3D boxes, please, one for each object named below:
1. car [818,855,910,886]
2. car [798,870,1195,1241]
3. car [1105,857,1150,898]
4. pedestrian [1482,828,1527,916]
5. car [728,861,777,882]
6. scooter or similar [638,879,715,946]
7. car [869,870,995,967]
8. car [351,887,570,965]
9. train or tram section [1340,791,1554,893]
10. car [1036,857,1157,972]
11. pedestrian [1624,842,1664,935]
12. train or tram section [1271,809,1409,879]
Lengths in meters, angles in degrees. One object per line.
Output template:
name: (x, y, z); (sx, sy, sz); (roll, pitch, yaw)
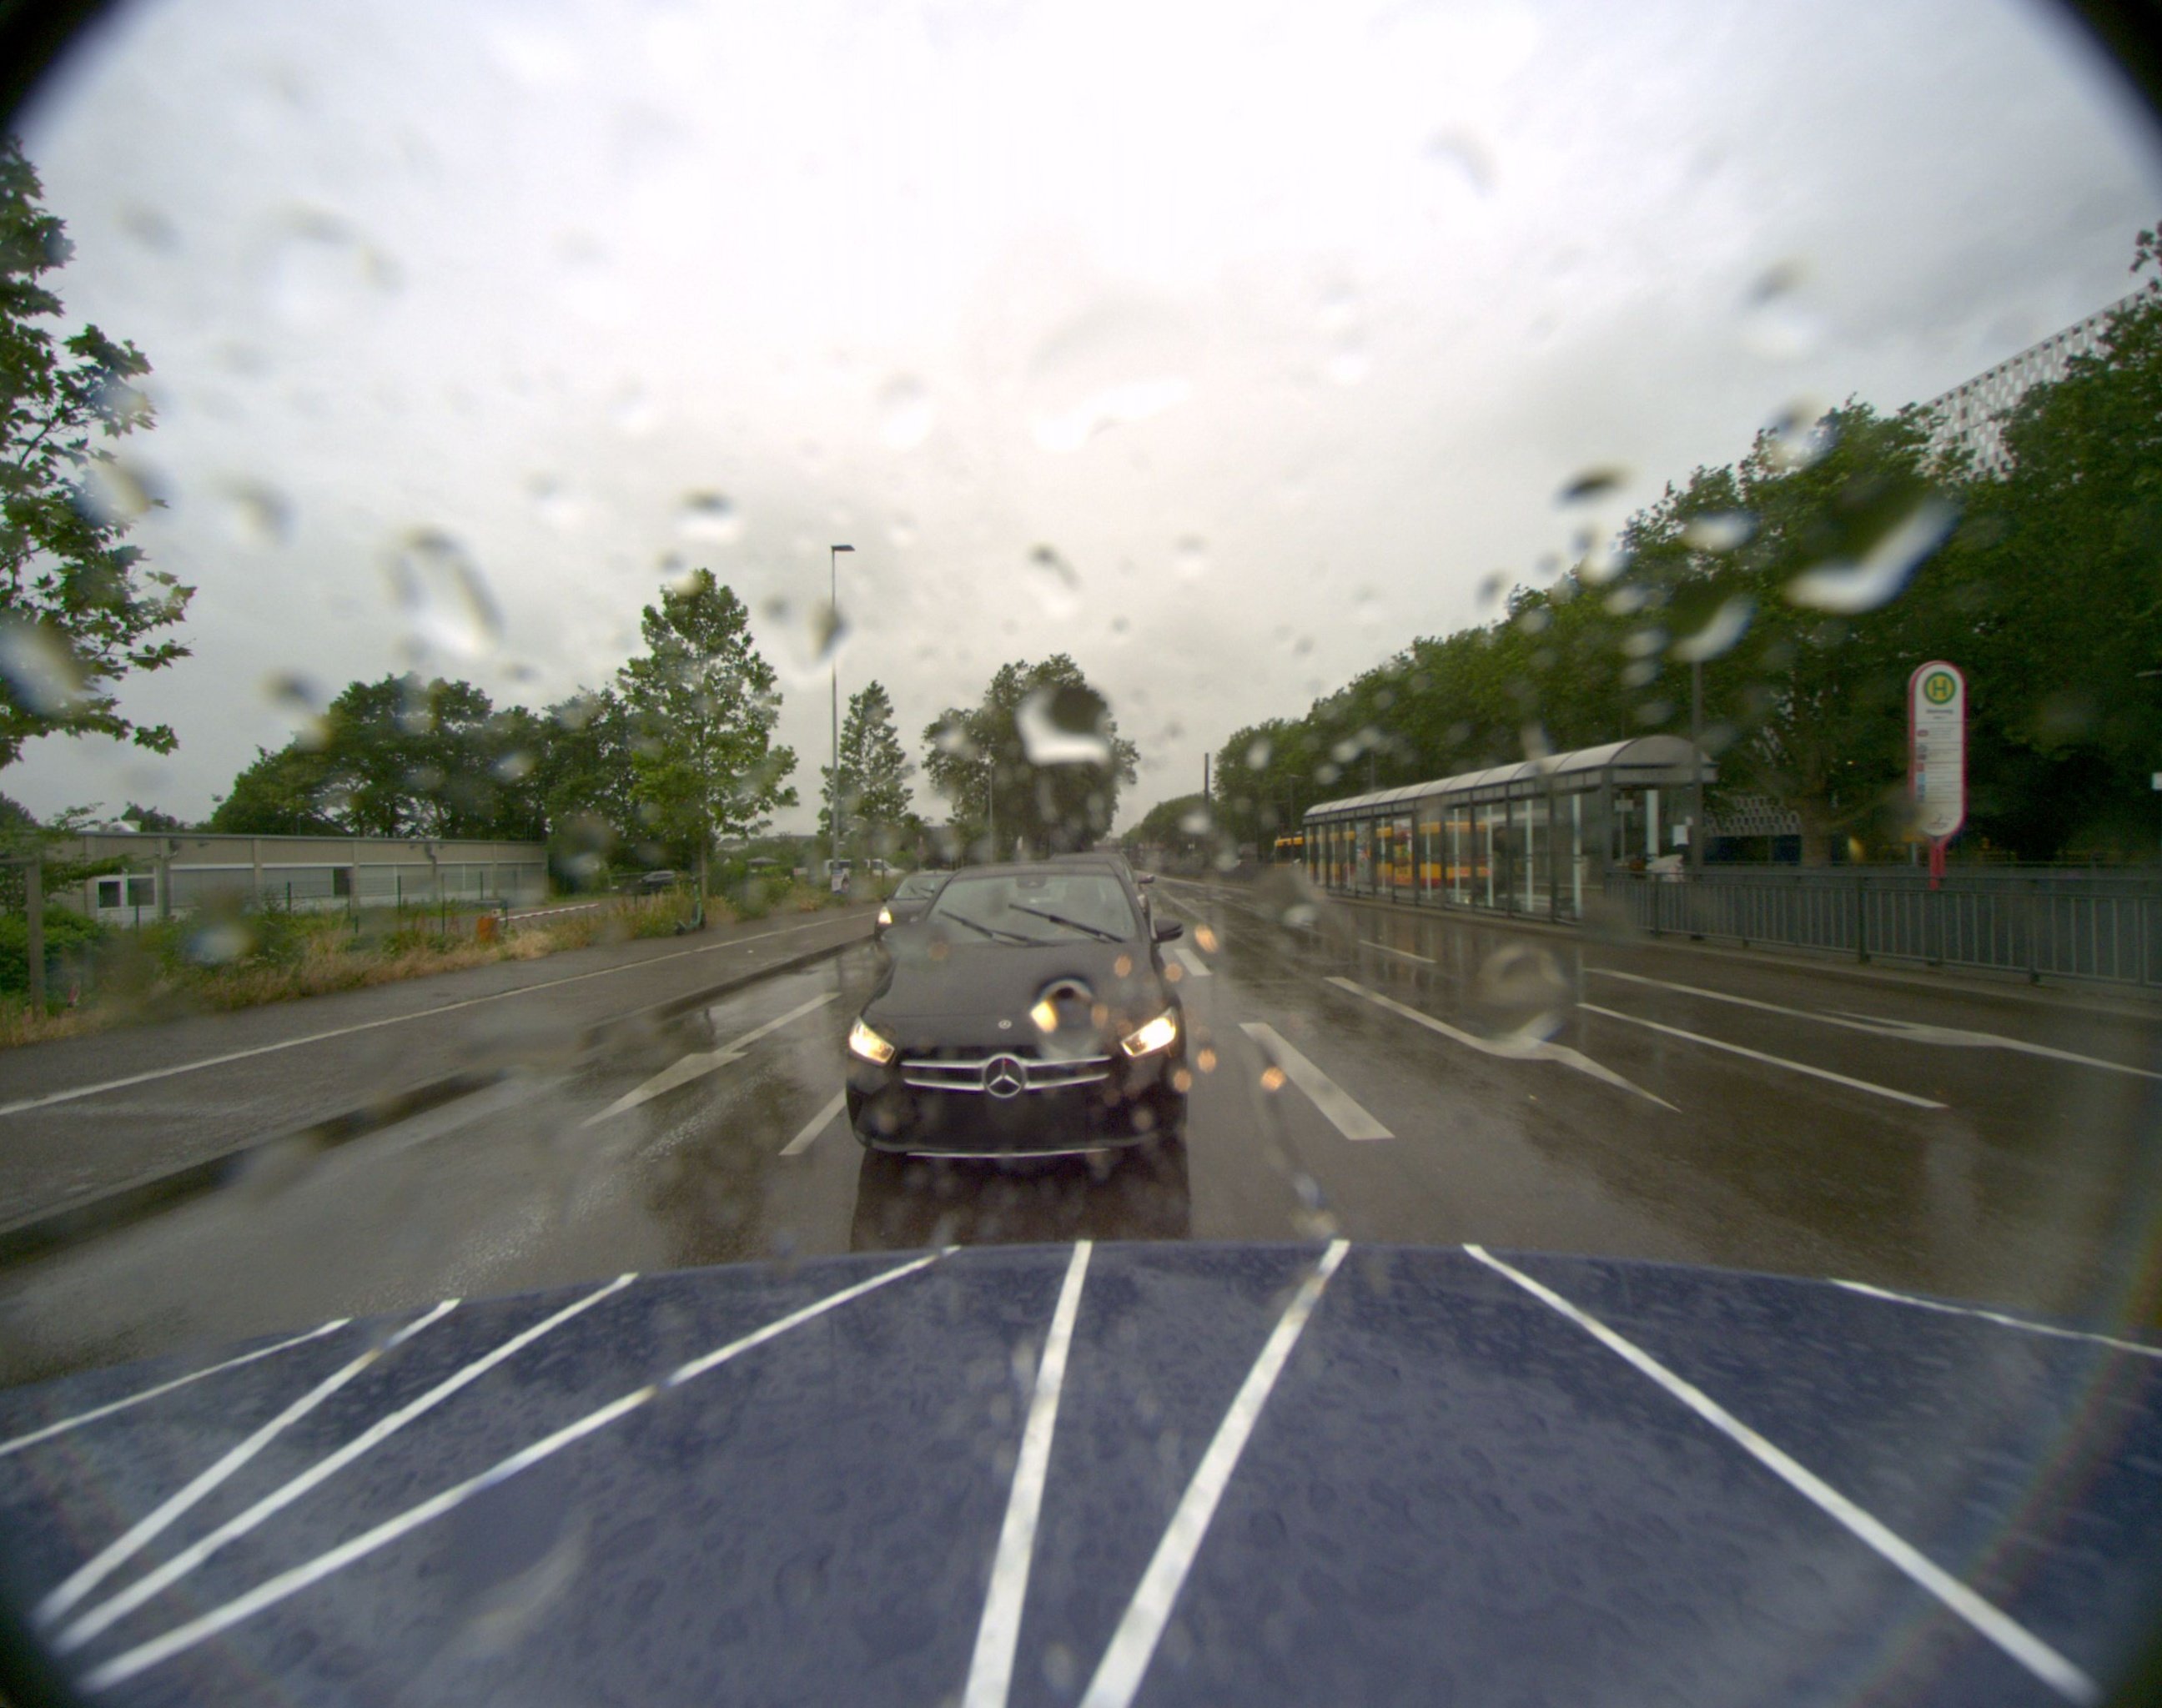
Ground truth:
car: (-13.666, 1.015, 48.170); (5.174, 1.715, 2.006); (-3, 1, -1)
car: (-0.208, 0.964, 5.503); (1.758, 1.572, 4.171); (-2, 0, 5)
car: (1.895, 0.935, 31.722); (1.557, 1.541, 3.717); (-3, 0, 0)
pedestrian: (9.251, 0.390, 16.617); (0.655, 1.860, 0.773); (-2, 1, 17)
car: (-28.075, 1.506, 64.992); (3.552, 1.574, 1.345); (-3, 1, 6)
scooter or similar: (-8.187, 1.160, 15.471); (0.367, 1.192, 1.913); (-2, 1, 4)
car: (-2.680, 1.101, 14.387); (1.557, 1.500, 3.618); (-2, 0, 1)
car: (-12.024, 1.380, 14.811); (3.243, 1.281, 1.345); (-3, 1, 6)
train or tram section: (16.626, -0.512, 36.434); (3.751, 3.817, 13.253); (-3, 0, 0)
car: (0.278, 0.863, 12.754); (1.689, 1.611, 4.000); (-1, 0, 2)
pedestrian: (9.194, 0.559, 12.418); (0.321, 1.485, 0.415); (-3, 2, 6)
train or tram section: (16.648, -0.612, 50.871); (3.751, 3.777, 15.569); (-3, 0, 0)
